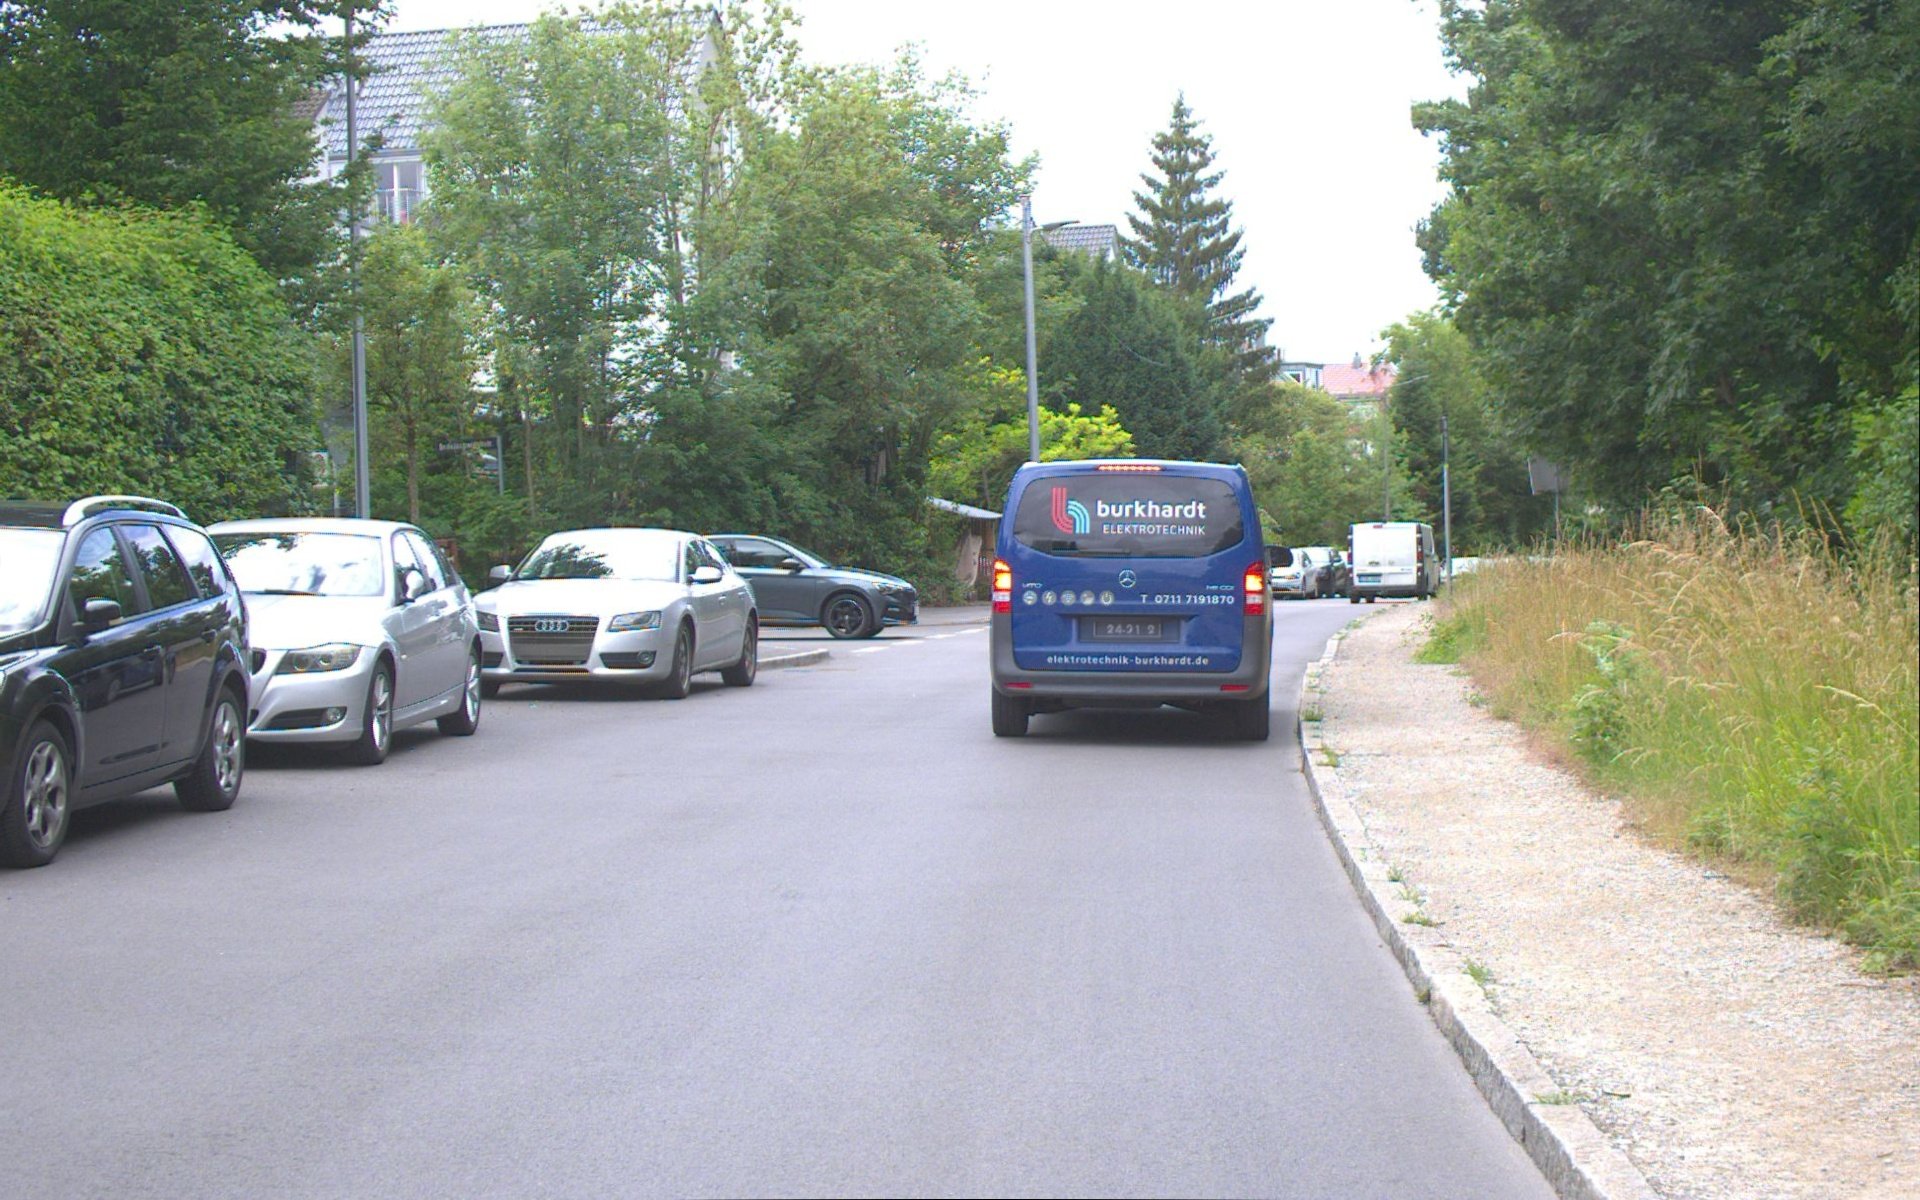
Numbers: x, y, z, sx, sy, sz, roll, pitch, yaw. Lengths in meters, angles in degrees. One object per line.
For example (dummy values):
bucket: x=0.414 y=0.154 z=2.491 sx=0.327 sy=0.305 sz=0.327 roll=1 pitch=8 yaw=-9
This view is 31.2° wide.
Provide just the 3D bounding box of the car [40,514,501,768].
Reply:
car: x=-4.080 y=0.174 z=21.048 sx=1.775 sy=1.369 sz=4.340 roll=1 pitch=1 yaw=2

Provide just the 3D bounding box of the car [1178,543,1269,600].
car: x=6.695 y=-0.725 z=86.933 sx=1.636 sy=1.400 sz=3.997 roll=1 pitch=1 yaw=14

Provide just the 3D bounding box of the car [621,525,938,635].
car: x=-2.448 y=-0.281 z=47.333 sx=4.167 sy=1.442 sz=1.740 roll=1 pitch=1 yaw=4

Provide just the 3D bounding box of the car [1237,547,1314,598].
car: x=8.935 y=-0.780 z=97.080 sx=1.750 sy=1.400 sz=3.998 roll=1 pitch=1 yaw=11

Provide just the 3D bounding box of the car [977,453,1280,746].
car: x=1.275 y=-0.058 z=24.386 sx=1.936 sy=1.873 sz=4.530 roll=0 pitch=1 yaw=5

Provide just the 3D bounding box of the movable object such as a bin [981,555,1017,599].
movable object such as a bin: x=0.817 y=-0.482 z=72.473 sx=0.591 sy=0.906 sz=0.700 roll=1 pitch=1 yaw=16

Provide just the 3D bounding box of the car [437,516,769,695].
car: x=-2.931 y=-0.008 z=29.184 sx=1.832 sy=1.369 sz=4.444 roll=1 pitch=1 yaw=7

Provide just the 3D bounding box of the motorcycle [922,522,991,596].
motorcycle: x=-0.066 y=-0.832 z=70.495 sx=0.810 sy=1.480 sz=2.894 roll=1 pitch=1 yaw=12

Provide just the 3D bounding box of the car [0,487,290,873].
car: x=-4.466 y=0.264 z=15.570 sx=1.657 sy=1.528 sz=4.474 roll=1 pitch=1 yaw=5

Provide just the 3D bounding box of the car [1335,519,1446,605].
car: x=10.670 y=-0.960 z=84.811 sx=2.207 sy=2.056 sz=6.131 roll=0 pitch=1 yaw=12

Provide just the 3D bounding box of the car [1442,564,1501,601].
car: x=19.885 y=-0.683 z=133.508 sx=1.750 sy=1.400 sz=3.997 roll=1 pitch=1 yaw=16
